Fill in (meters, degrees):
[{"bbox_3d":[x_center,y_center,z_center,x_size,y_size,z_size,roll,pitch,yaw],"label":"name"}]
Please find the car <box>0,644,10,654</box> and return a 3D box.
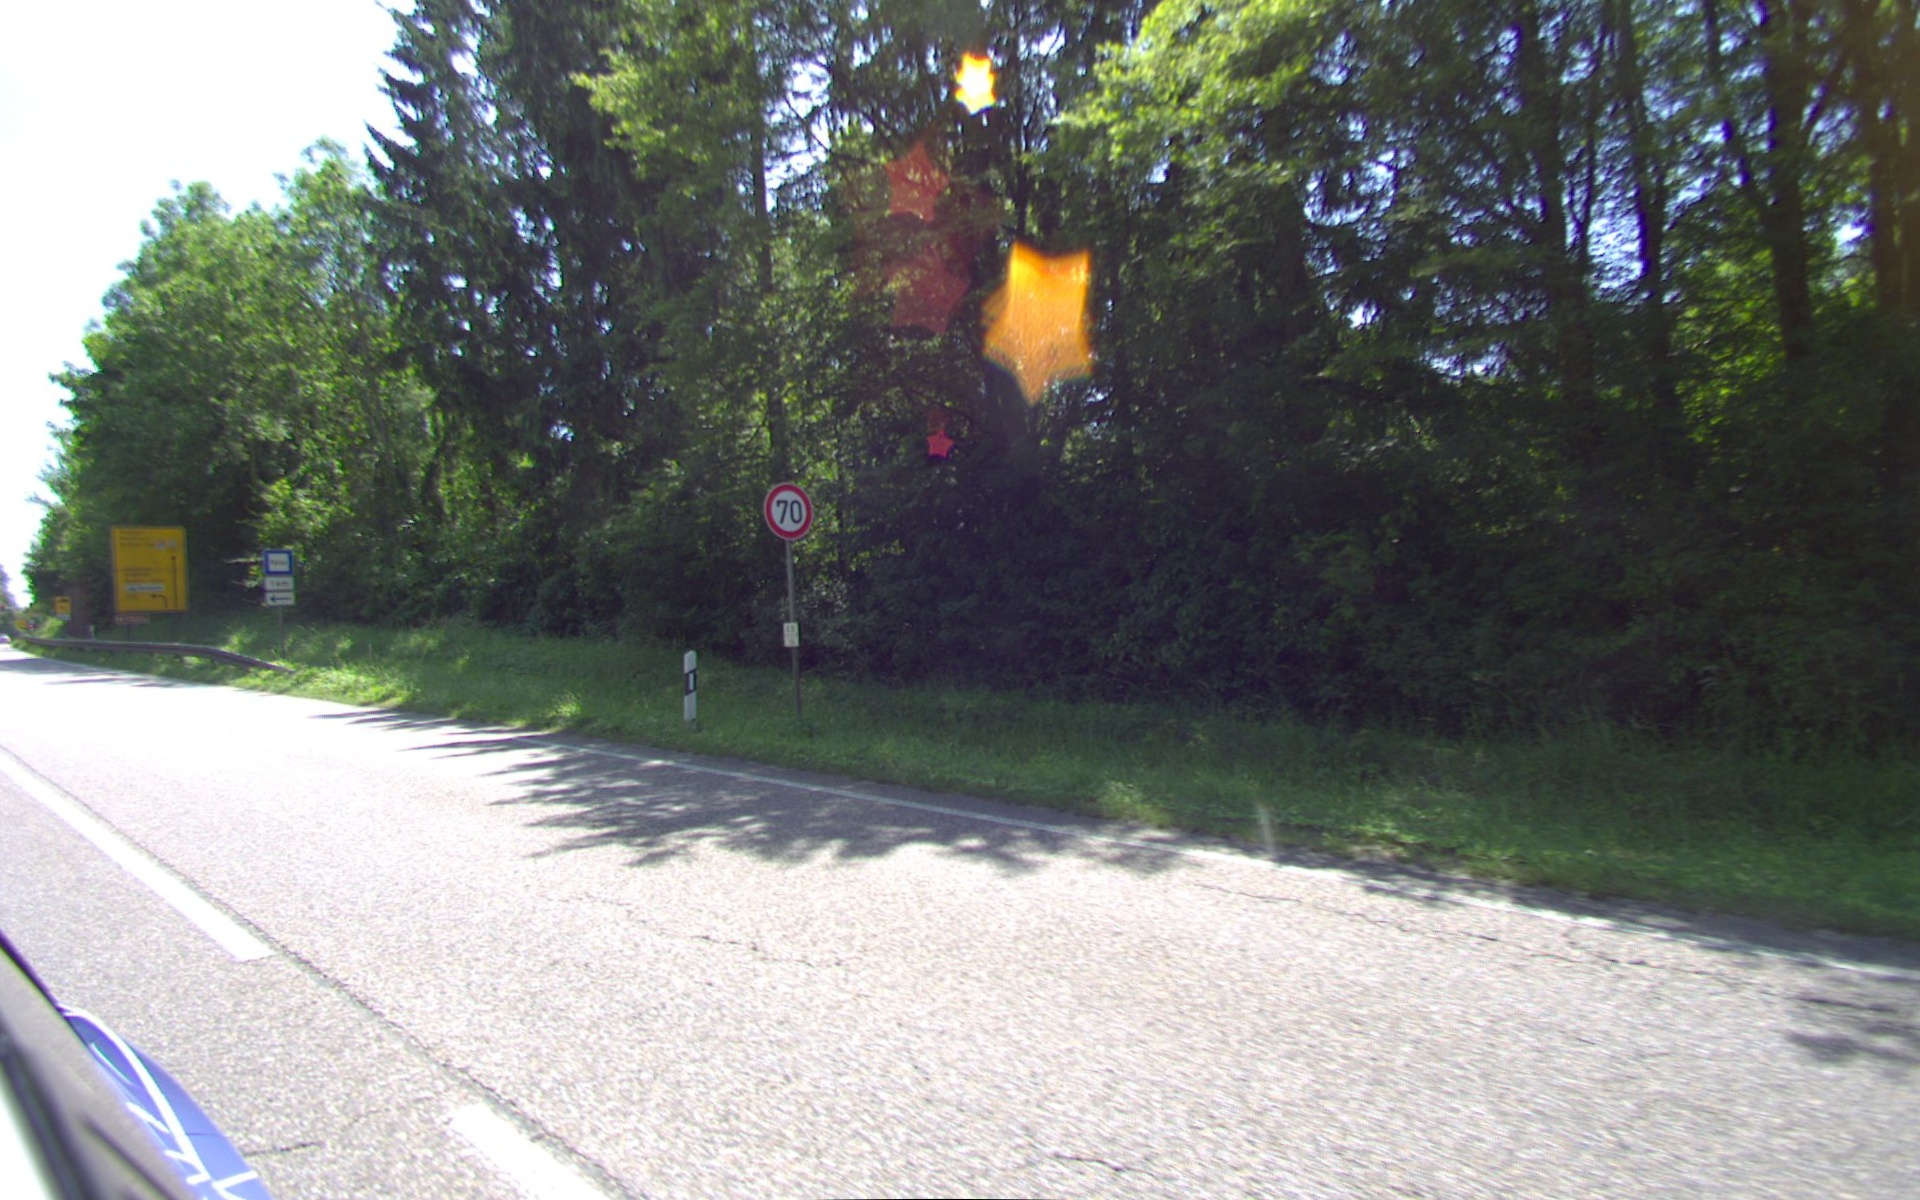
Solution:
[{"bbox_3d":[-142.602,7.249,150.540,1.785,1.446,3.873,0,-2,-45],"label":"car"}]
